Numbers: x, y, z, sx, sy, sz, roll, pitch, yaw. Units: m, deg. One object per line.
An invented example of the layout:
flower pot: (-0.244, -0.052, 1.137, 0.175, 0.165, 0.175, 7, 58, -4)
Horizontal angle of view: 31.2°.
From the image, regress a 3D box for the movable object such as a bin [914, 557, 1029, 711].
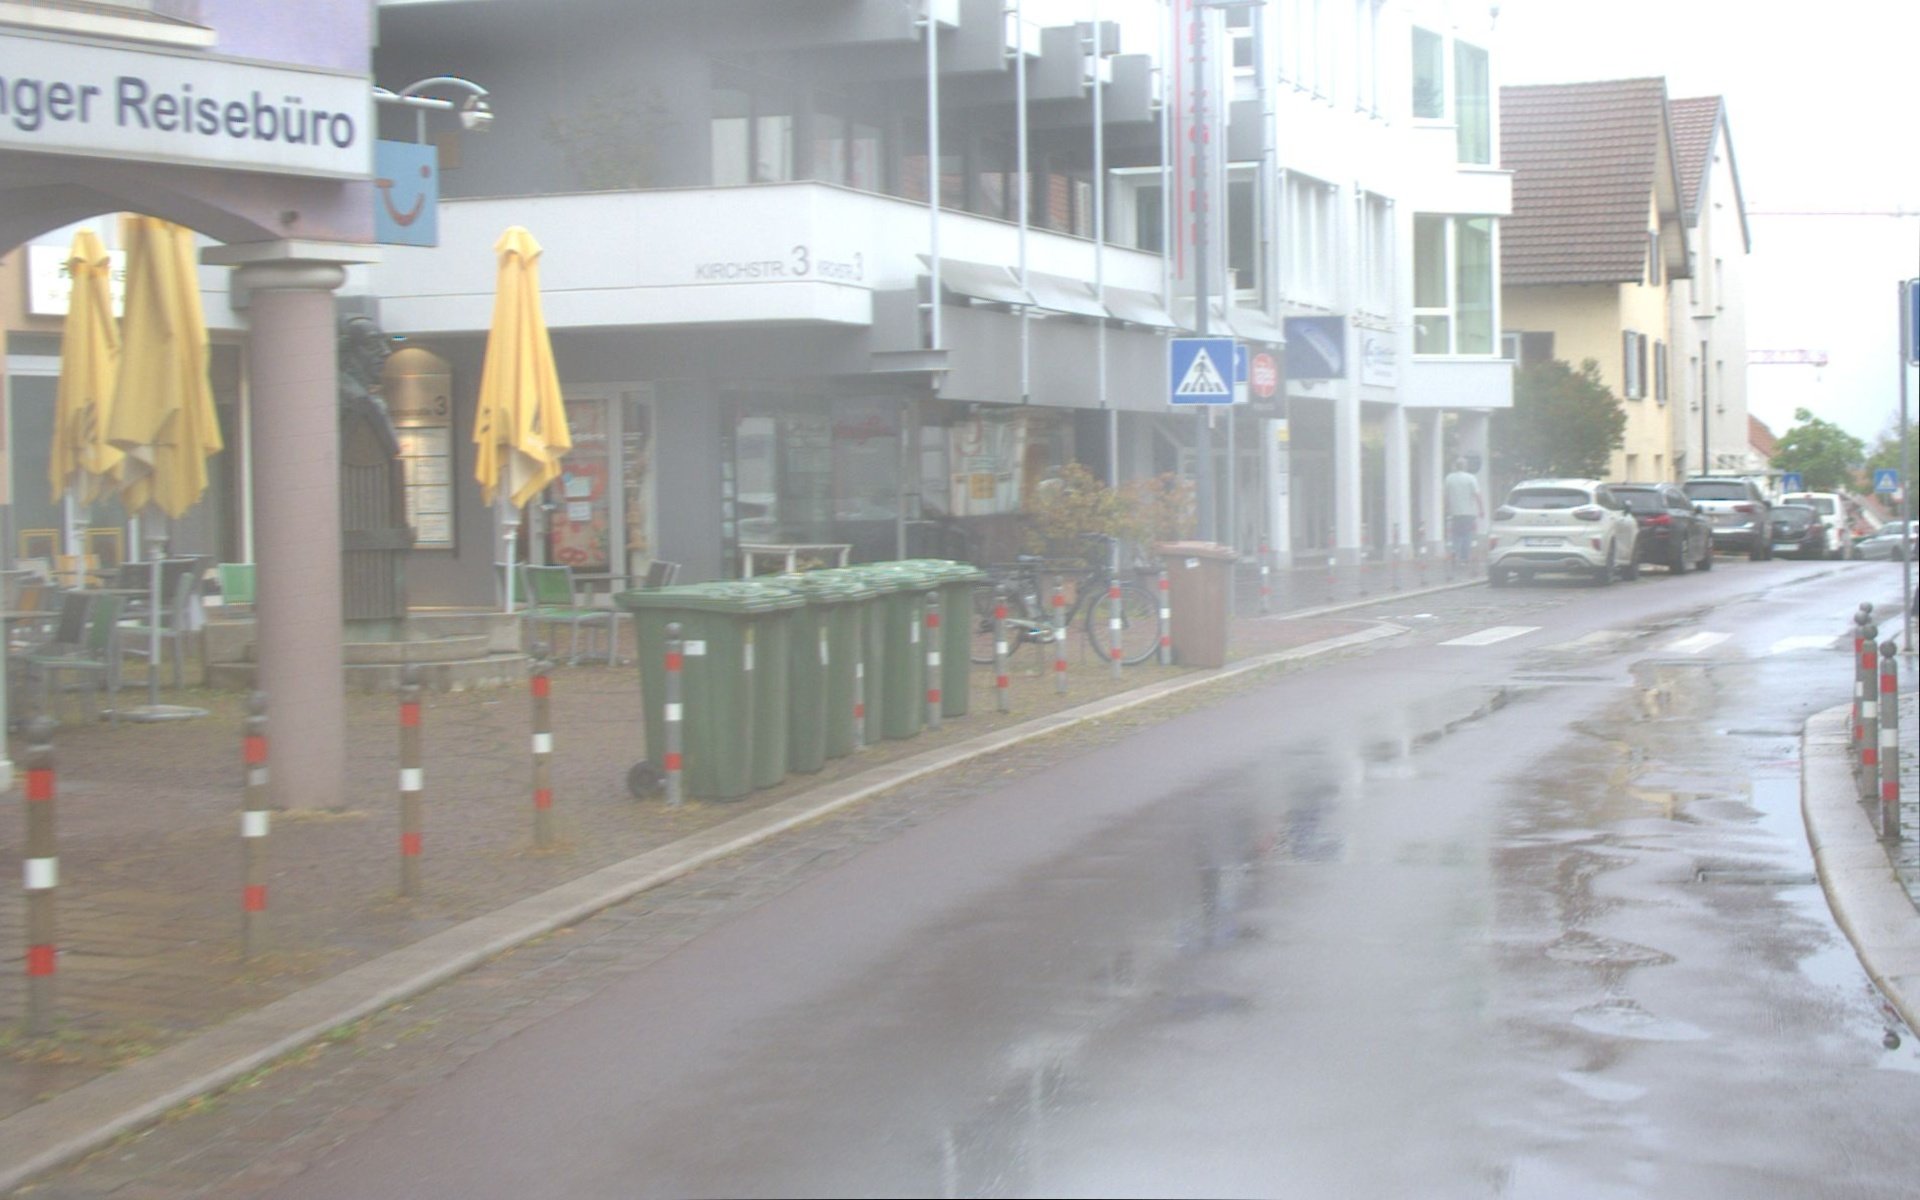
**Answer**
movable object such as a bin: (0.083, 0.230, 23.894, 0.687, 1.036, 0.669, 0, 2, 11)

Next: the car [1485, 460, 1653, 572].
car: (8.973, -1.210, 50.424, 1.793, 1.545, 3.996, 1, 1, 19)

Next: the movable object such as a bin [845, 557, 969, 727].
movable object such as a bin: (-0.340, 0.261, 22.356, 0.687, 1.073, 0.669, 0, 2, 11)

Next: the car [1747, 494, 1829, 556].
car: (19.464, -1.750, 80.726, 1.682, 1.384, 3.822, 0, 0, 16)

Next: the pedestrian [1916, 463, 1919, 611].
pedestrian: (11.041, -0.661, 37.372, 1.178, 1.691, 1.176, -1, 1, 17)

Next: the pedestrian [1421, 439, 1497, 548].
pedestrian: (8.378, -1.788, 57.706, 1.036, 1.800, 1.115, 1, 2, 20)

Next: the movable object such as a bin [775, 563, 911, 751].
movable object such as a bin: (-0.702, 0.335, 20.787, 0.687, 1.101, 0.669, 0, 2, 11)

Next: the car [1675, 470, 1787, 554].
car: (15.294, -1.709, 68.037, 1.781, 1.563, 4.404, 0, 0, 18)

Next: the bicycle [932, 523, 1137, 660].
bicycle: (0.634, -0.070, 29.490, 1.746, 1.160, 0.444, 0, 0, 0)

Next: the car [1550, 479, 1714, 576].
car: (11.029, -1.209, 56.163, 1.832, 1.493, 4.759, -1, 2, 21)

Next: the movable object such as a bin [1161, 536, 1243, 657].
movable object such as a bin: (2.071, -0.034, 29.508, 0.686, 1.016, 0.632, 0, 2, 2)

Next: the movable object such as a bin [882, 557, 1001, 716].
movable object such as a bin: (-0.118, 0.238, 23.208, 0.687, 1.038, 0.669, 0, 2, 11)

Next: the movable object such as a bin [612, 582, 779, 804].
movable object such as a bin: (-1.328, 0.458, 17.346, 0.687, 1.074, 0.677, 0, 2, 11)

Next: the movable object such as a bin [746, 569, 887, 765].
movable object such as a bin: (-0.832, 0.381, 20.073, 0.687, 1.101, 0.669, 0, 2, 11)

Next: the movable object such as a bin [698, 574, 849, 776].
movable object such as a bin: (-1.026, 0.402, 18.983, 0.687, 1.077, 0.669, 0, 2, 11)

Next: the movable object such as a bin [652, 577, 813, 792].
movable object such as a bin: (-1.191, 0.432, 18.082, 0.687, 1.083, 0.712, 0, 2, 11)

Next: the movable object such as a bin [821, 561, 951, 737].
movable object such as a bin: (-0.456, 0.297, 21.483, 0.687, 1.070, 0.669, 0, 2, 11)

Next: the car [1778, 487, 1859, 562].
car: (21.563, -1.872, 86.256, 1.725, 1.819, 4.424, 0, 0, 17)
